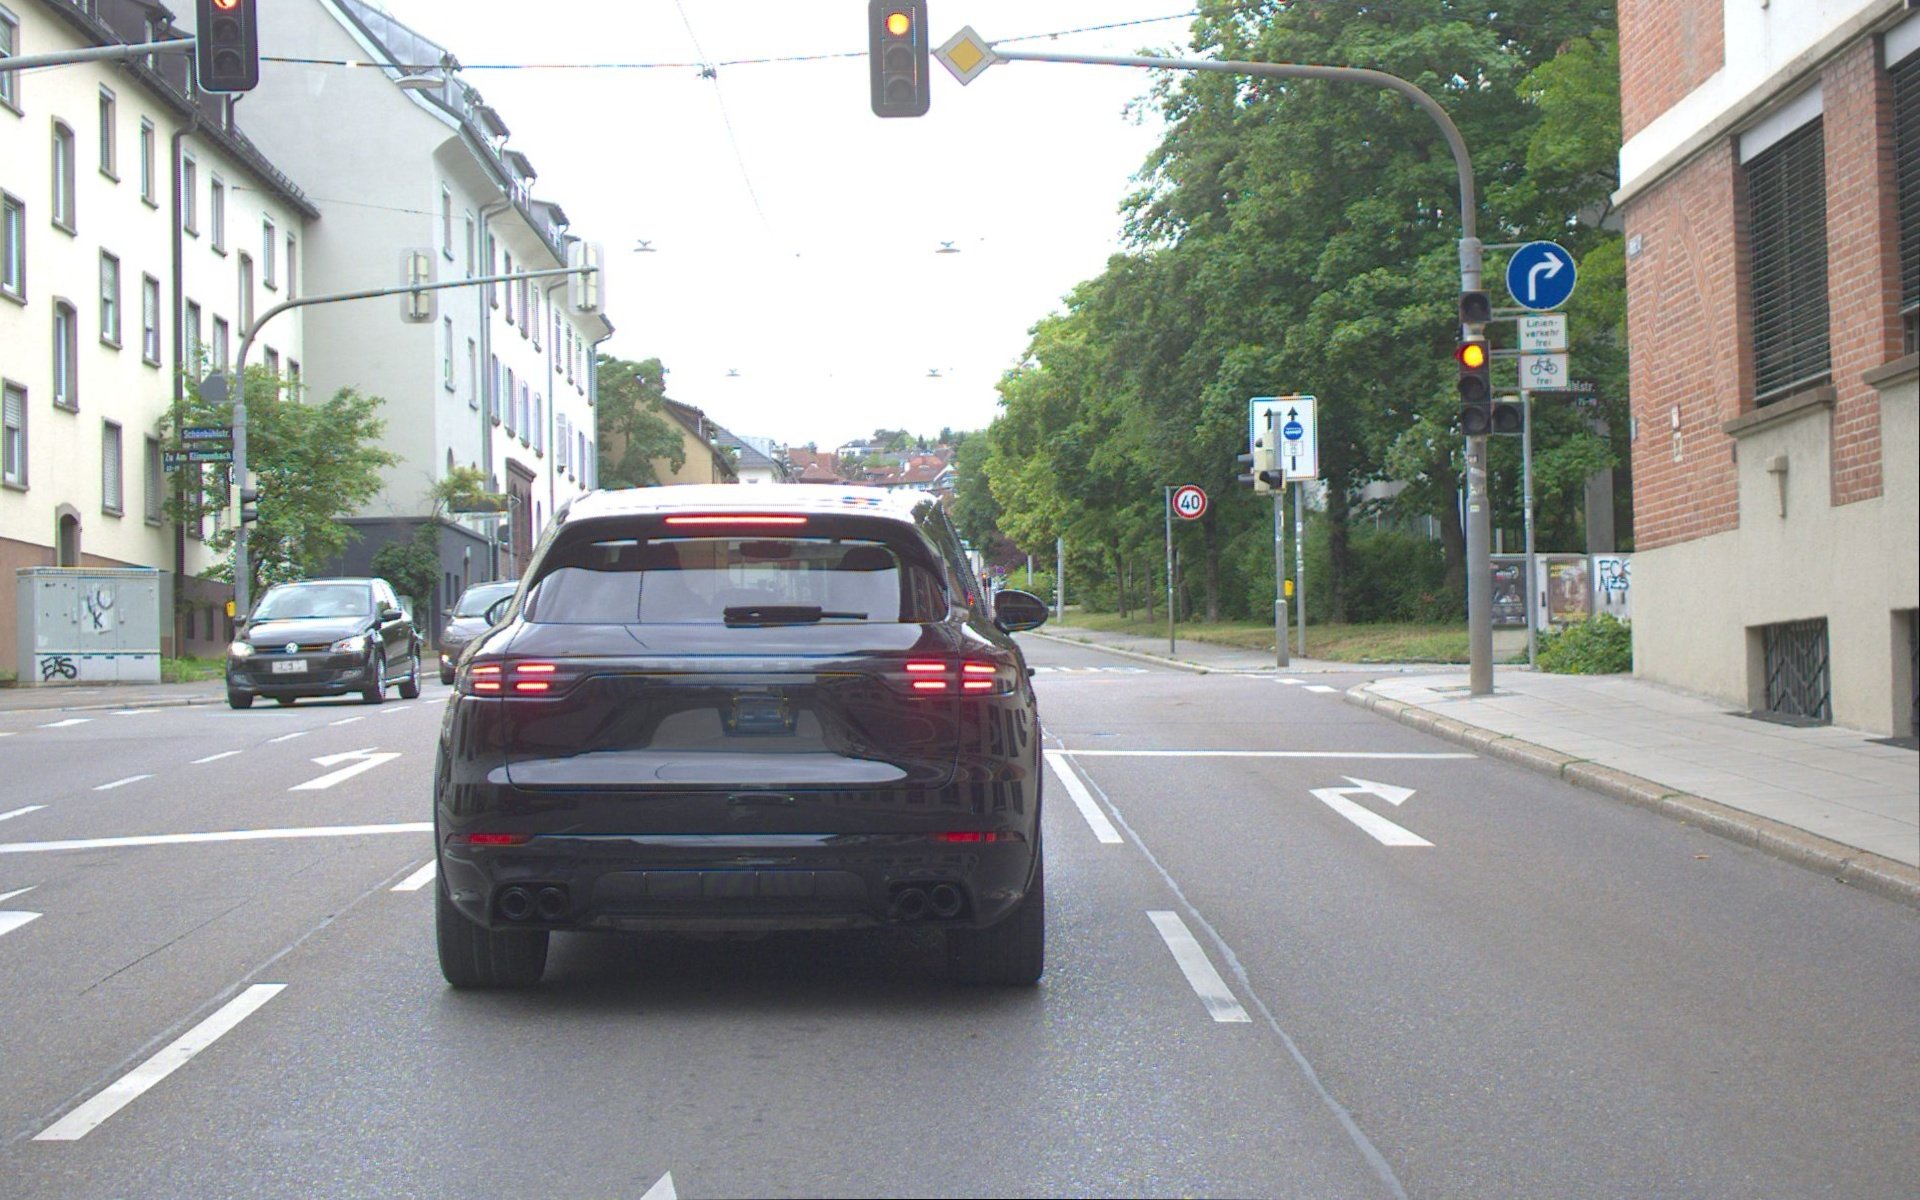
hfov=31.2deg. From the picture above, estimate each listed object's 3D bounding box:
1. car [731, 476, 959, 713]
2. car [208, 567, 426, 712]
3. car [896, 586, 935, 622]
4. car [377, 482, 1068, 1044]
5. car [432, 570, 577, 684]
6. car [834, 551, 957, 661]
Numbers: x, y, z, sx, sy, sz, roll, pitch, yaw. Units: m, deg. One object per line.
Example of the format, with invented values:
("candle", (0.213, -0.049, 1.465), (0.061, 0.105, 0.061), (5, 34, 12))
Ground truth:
("car", (-1.006, -0.093, 31.995), (1.965, 2.035, 4.135), (1, 1, 0))
("car", (-7.146, 0.402, 38.518), (1.673, 1.395, 3.795), (-3, 1, 0))
("car", (-2.098, 0.163, 163.391), (1.827, 1.599, 4.135), (1, 1, 0))
("car", (-0.719, 0.442, 12.413), (2.048, 1.660, 4.267), (1, 1, 0))
("car", (-7.157, 0.390, 54.325), (1.703, 1.581, 3.937), (-3, 1, 0))
("car", (-0.974, 0.064, 53.761), (1.827, 1.599, 4.135), (1, 1, 0))
